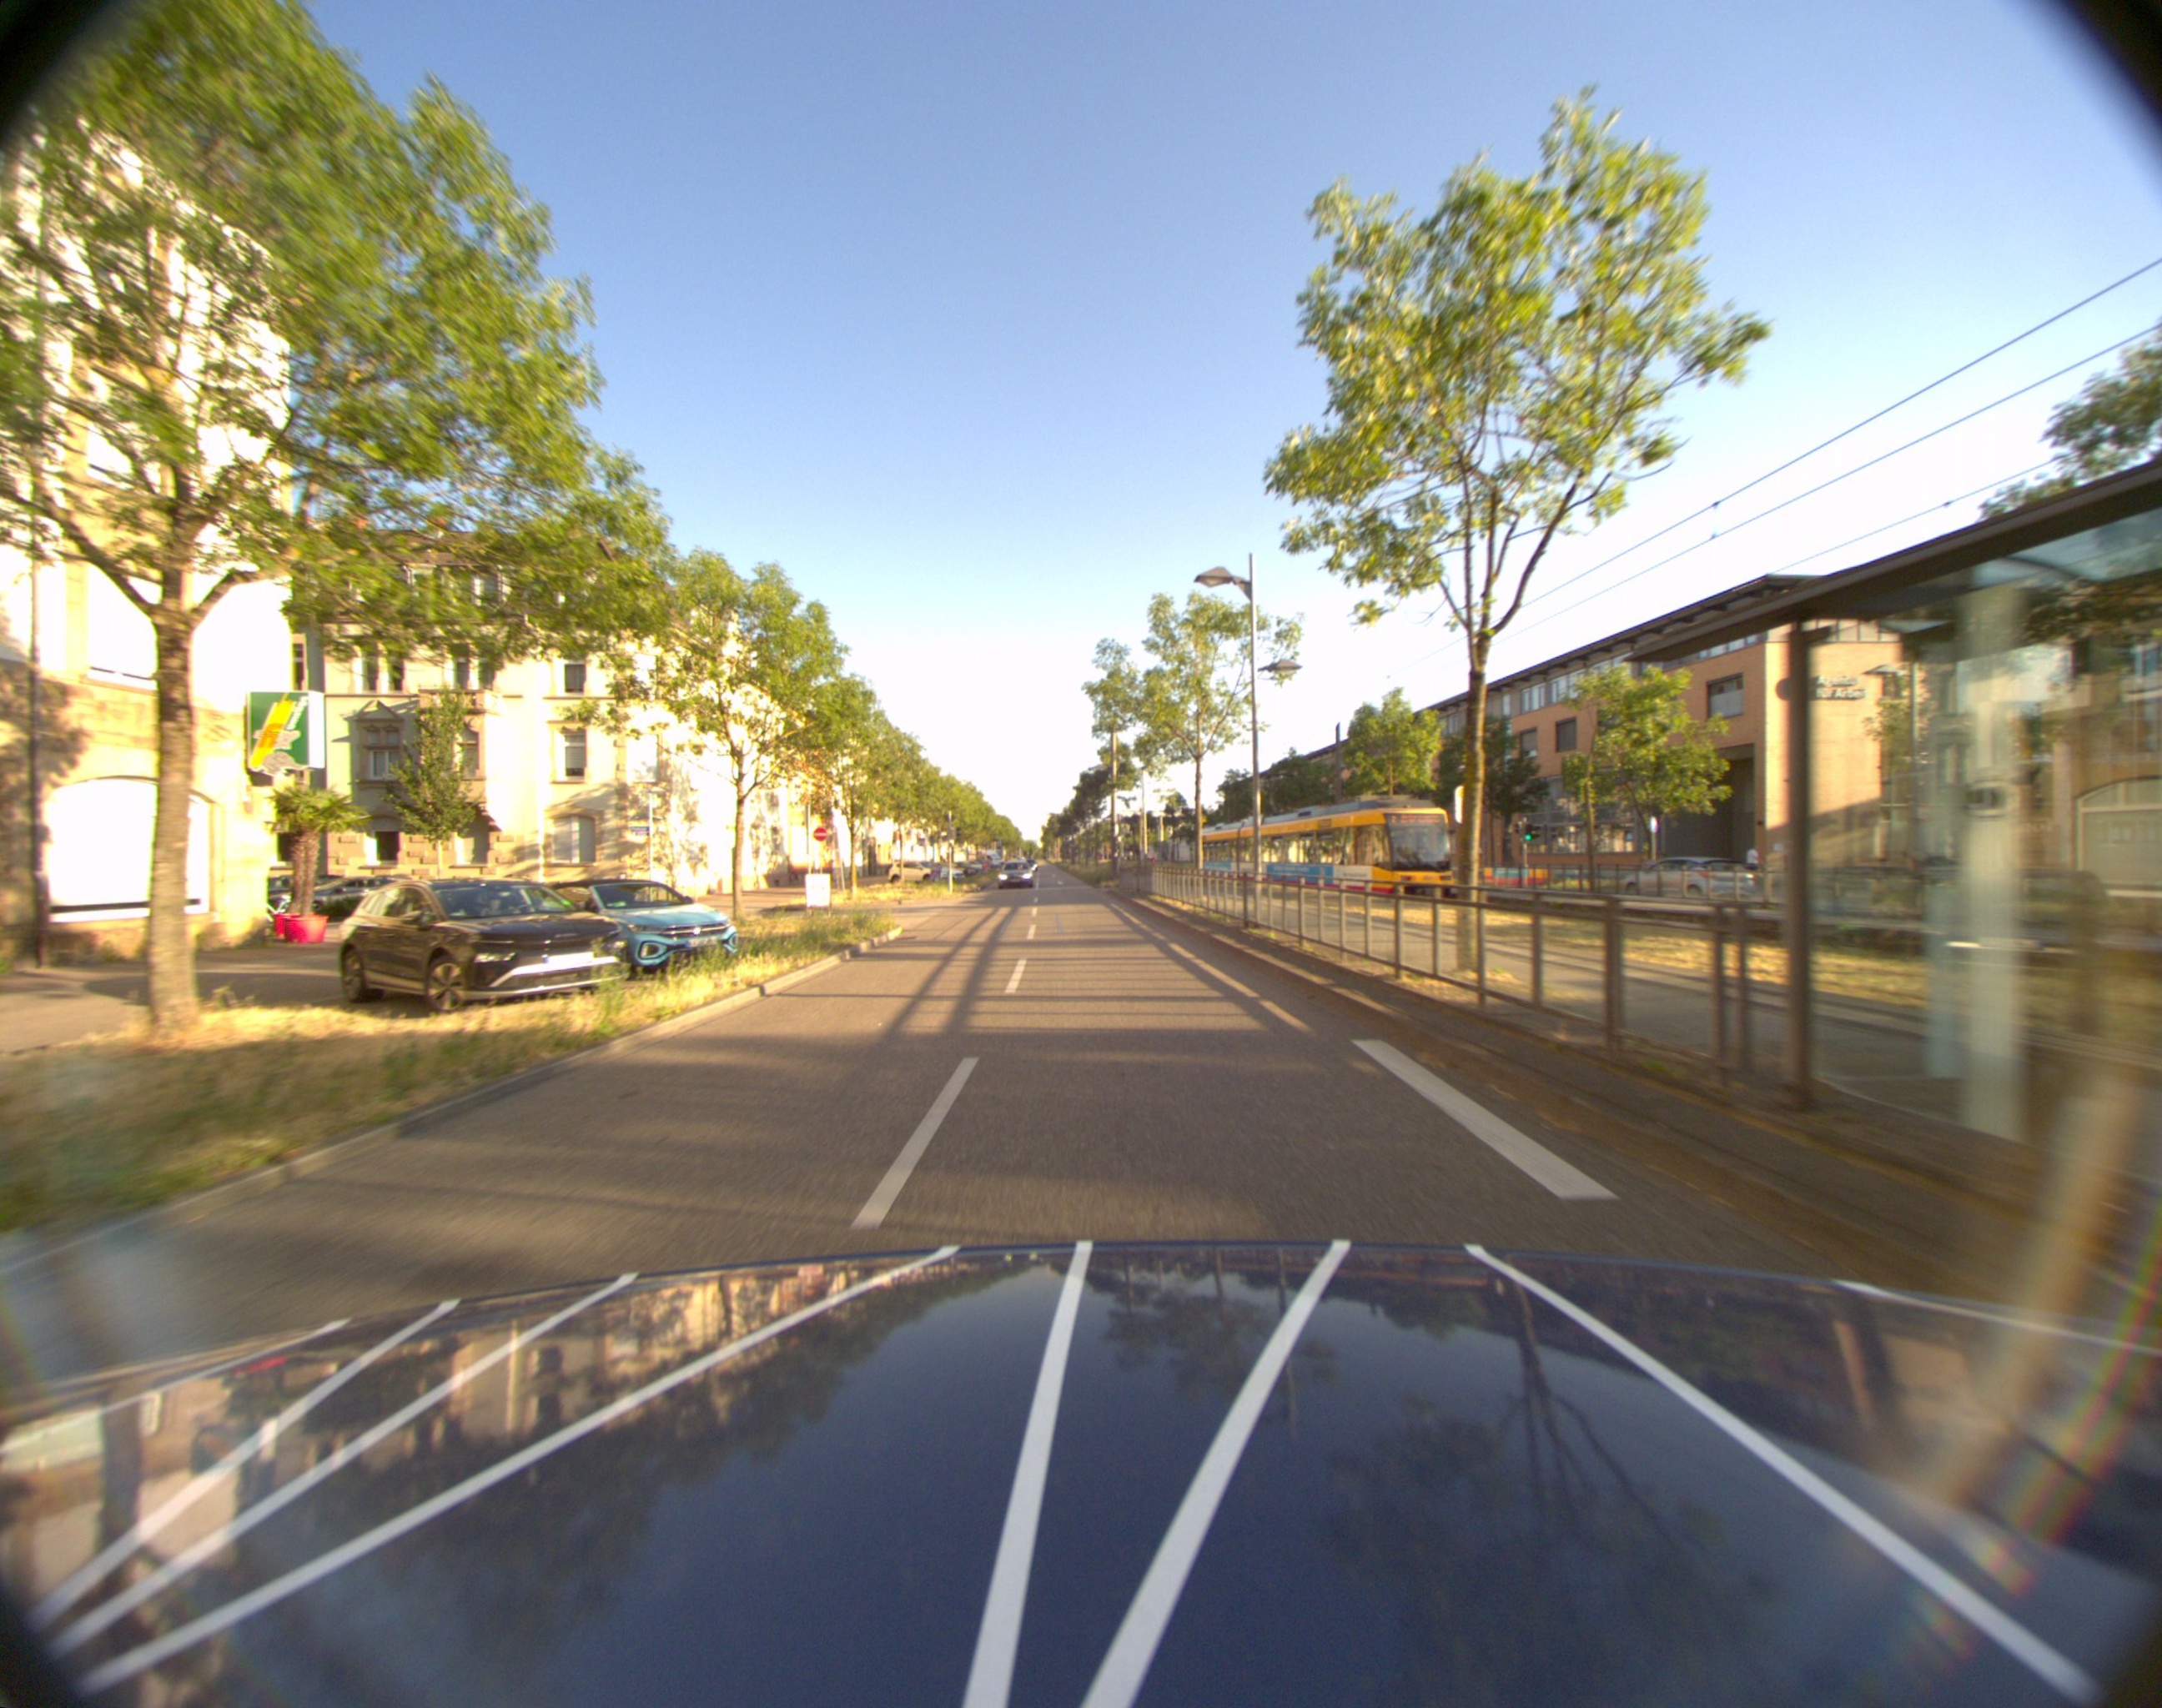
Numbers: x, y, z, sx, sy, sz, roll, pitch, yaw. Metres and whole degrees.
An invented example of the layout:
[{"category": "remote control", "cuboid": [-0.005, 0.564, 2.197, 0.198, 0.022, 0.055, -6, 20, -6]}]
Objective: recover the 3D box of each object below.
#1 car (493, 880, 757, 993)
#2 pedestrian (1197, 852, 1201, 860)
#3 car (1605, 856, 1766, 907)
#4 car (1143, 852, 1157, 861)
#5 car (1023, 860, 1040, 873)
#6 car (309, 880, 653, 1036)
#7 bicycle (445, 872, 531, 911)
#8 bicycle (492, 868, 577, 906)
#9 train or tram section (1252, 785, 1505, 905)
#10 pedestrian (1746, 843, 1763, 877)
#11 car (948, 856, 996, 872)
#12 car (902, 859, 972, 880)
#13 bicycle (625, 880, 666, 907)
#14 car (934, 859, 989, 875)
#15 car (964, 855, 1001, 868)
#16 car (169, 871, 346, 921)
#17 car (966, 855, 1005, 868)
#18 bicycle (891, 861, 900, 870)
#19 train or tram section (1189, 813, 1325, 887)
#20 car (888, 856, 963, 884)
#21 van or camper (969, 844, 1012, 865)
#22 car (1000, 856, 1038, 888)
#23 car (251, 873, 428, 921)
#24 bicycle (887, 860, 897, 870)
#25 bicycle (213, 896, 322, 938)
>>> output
[{"category": "car", "cuboid": [-7.574, 1.236, 12.551, 4.276, 1.513, 1.850, -1, 0, 30]}, {"category": "pedestrian", "cuboid": [20.655, 0.323, 133.184, 0.588, 1.359, 0.575, -1, 1, -9]}, {"category": "car", "cuboid": [19.639, 0.834, 24.935, 1.868, 1.499, 3.997, -1, 0, -6]}, {"category": "car", "cuboid": [11.680, 0.387, 128.634, 1.795, 1.368, 3.998, -1, 0, -3]}, {"category": "car", "cuboid": [-6.010, 1.522, 93.356, 1.870, 1.586, 3.951, -1, 0, -1]}, {"category": "car", "cuboid": [-7.871, 1.211, 9.903, 4.330, 1.562, 2.005, -3, -1, 30]}, {"category": "bicycle", "cuboid": [-21.206, 1.322, 27.196, 2.356, 1.312, 0.730, -1, 1, -6]}, {"category": "bicycle", "cuboid": [-21.317, 1.276, 29.676, 2.672, 1.376, 0.730, -1, 1, -6]}, {"category": "train or tram section", "cuboid": [9.948, -0.276, 28.332, 3.440, 3.320, 13.853, -1, 0, -3]}, {"category": "pedestrian", "cuboid": [30.620, 0.273, 34.555, 0.546, 1.496, 0.532, 0, 1, 40]}, {"category": "car", "cuboid": [-10.902, 0.982, 75.923, 4.633, 1.501, 1.851, -1, 0, 33]}, {"category": "car", "cuboid": [-10.091, 1.070, 53.229, 4.543, 1.391, 2.034, -1, 1, 28]}, {"category": "bicycle", "cuboid": [-16.419, 1.484, 28.695, 0.461, 0.868, 1.883, 5, 1, -3]}, {"category": "car", "cuboid": [-10.387, 1.136, 65.984, 4.571, 1.340, 1.900, -1, 1, 30]}, {"category": "car", "cuboid": [-11.599, 0.906, 89.323, 4.042, 1.429, 1.730, -1, 1, 25]}, {"category": "car", "cuboid": [-29.691, 1.477, 27.557, 1.864, 1.567, 3.879, -1, 0, 18]}, {"category": "car", "cuboid": [-11.603, 0.935, 92.341, 4.425, 1.415, 1.926, -2, 0, 29]}, {"category": "bicycle", "cuboid": [-20.155, 1.220, 82.575, 0.580, 0.985, 1.927, -1, 0, -3]}, {"category": "train or tram section", "cuboid": [9.241, -0.220, 42.708, 3.440, 3.410, 15.022, -1, 0, -3]}, {"category": "car", "cuboid": [-9.683, 0.995, 47.221, 4.421, 1.681, 1.920, -1, 0, 32]}, {"category": "van or camper", "cuboid": [-12.598, 0.117, 105.401, 5.636, 2.796, 2.208, -1, 1, 29]}, {"category": "car", "cuboid": [-3.383, 0.941, 42.002, 1.999, 1.655, 3.998, -1, 0, -3]}, {"category": "car", "cuboid": [-26.794, 1.505, 27.631, 1.863, 1.483, 4.208, -1, 0, 28]}, {"category": "bicycle", "cuboid": [-20.037, 1.176, 80.448, 0.589, 1.072, 2.227, 1, 0, -3]}, {"category": "bicycle", "cuboid": [-21.327, 1.631, 19.973, 0.629, 0.942, 1.886, -1, -1, 12]}]
